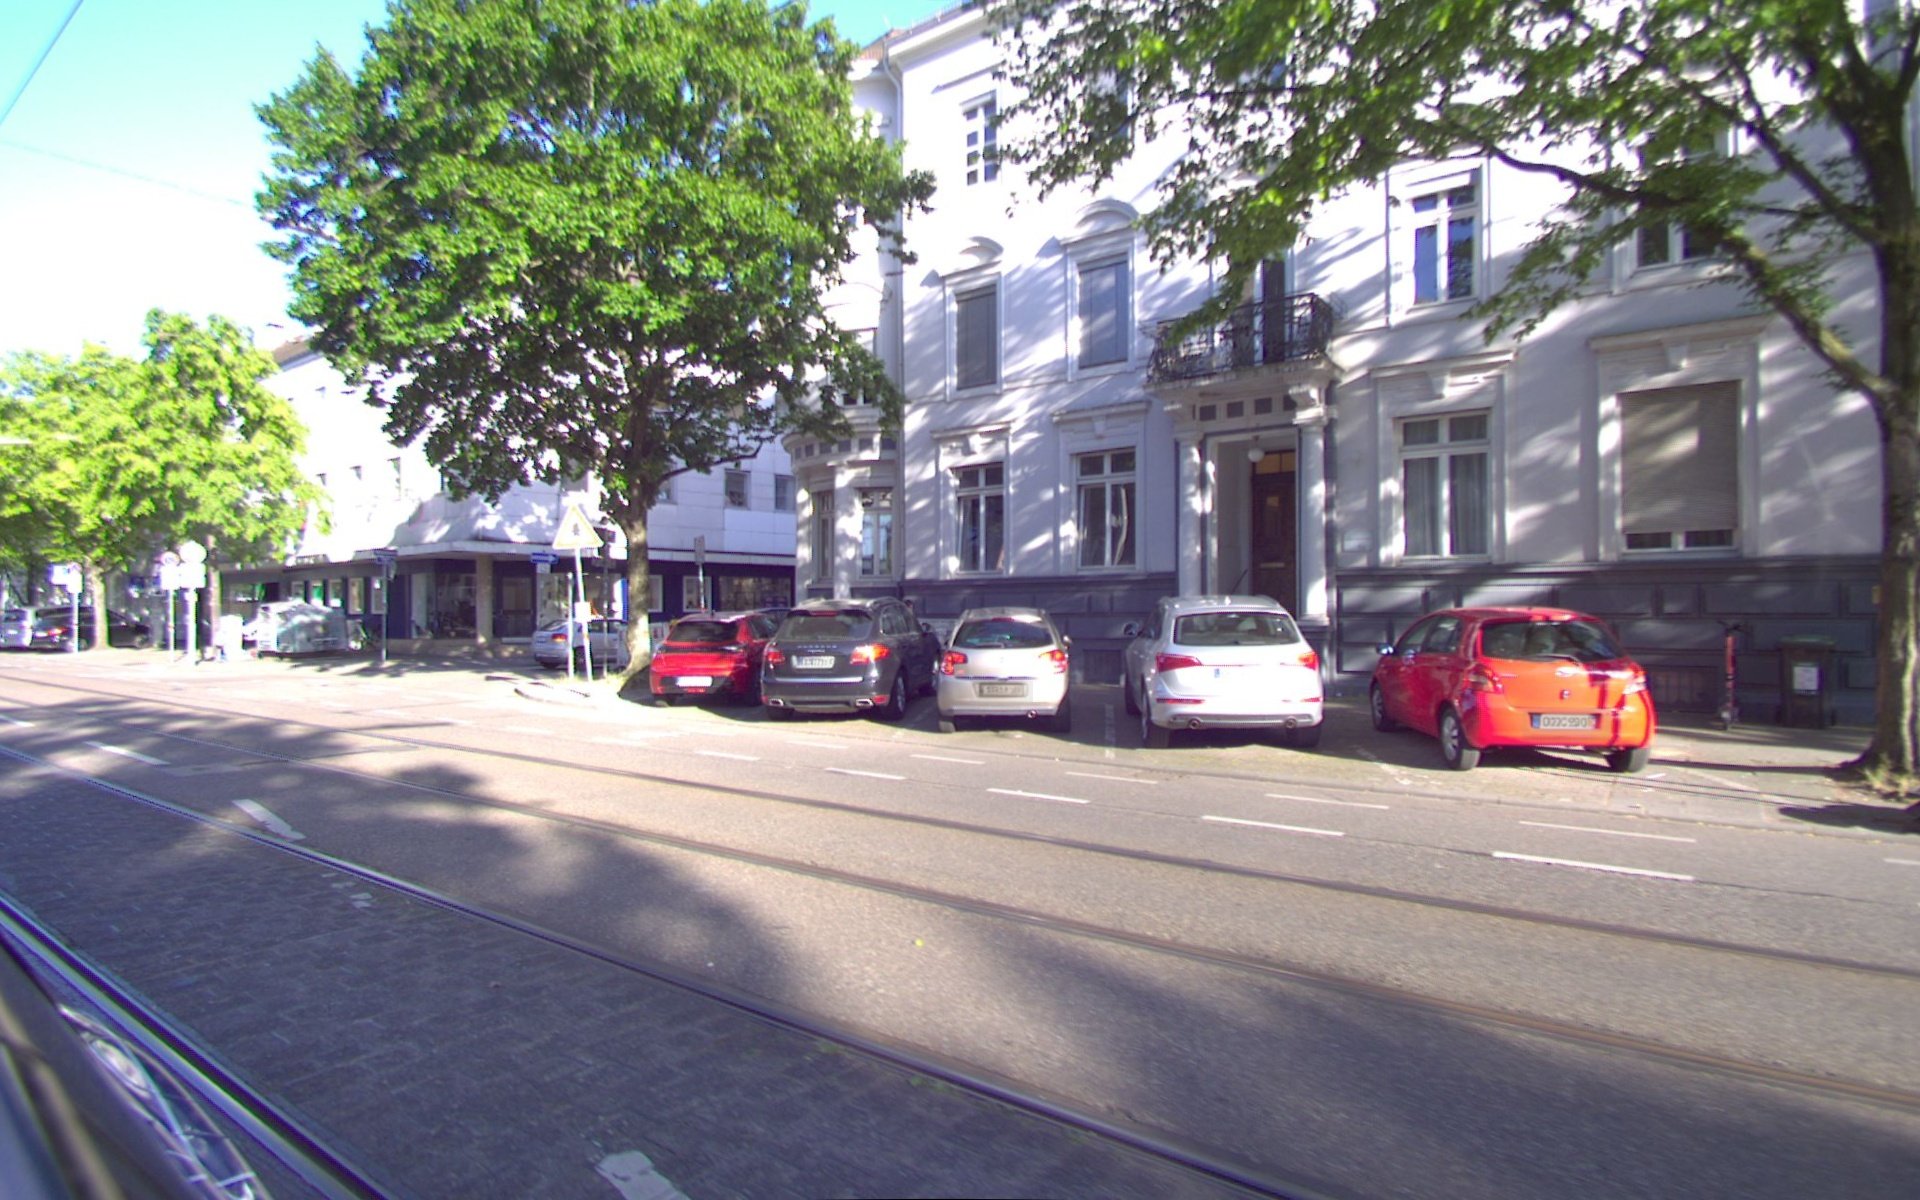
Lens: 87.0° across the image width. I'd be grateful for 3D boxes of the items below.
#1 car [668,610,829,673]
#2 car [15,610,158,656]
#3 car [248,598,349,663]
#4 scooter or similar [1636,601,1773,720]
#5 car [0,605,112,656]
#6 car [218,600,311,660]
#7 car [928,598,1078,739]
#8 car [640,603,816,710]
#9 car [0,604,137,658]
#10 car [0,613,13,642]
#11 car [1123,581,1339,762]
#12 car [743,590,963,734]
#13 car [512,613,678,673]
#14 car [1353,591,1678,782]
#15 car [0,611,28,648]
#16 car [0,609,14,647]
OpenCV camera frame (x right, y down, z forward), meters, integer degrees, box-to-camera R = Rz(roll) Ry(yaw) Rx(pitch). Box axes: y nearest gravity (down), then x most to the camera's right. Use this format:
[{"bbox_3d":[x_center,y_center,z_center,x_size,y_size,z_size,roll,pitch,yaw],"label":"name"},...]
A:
[{"bbox_3d":[-5.456,1.022,26.444,1.779,1.497,3.950,0,-1,37],"label":"car"},{"bbox_3d":[-35.381,1.300,41.121,1.667,1.581,4.059,-1,2,31],"label":"car"},{"bbox_3d":[-20.594,0.934,31.506,3.209,1.912,1.652,-1,-1,37],"label":"car"},{"bbox_3d":[9.013,0.709,12.274,1.285,1.368,0.396,-1,-2,42],"label":"scooter or similar"},{"bbox_3d":[-39.983,1.281,44.129,1.667,1.965,4.264,-1,2,31],"label":"car"},{"bbox_3d":[-23.396,0.984,34.018,3.209,1.912,1.652,-1,-1,37],"label":"car"},{"bbox_3d":[0.604,0.800,13.746,1.726,1.531,3.763,-1,2,3],"label":"car"},{"bbox_3d":[-3.769,0.855,17.150,1.759,1.497,3.994,-1,1,5],"label":"car"},{"bbox_3d":[-37.665,1.239,42.664,1.667,1.965,4.264,-1,2,31],"label":"car"},{"bbox_3d":[-55.461,1.621,56.287,1.667,1.605,3.734,-1,2,31],"label":"car"},{"bbox_3d":[3.035,0.688,12.194,1.762,1.737,4.196,-1,2,5],"label":"car"},{"bbox_3d":[-1.398,0.774,15.165,1.930,1.727,4.341,-1,2,14],"label":"car"},{"bbox_3d":[-9.959,1.122,27.852,1.781,1.497,3.946,-1,-1,41],"label":"car"},{"bbox_3d":[5.581,0.731,10.805,1.621,1.569,4.191,-1,1,8],"label":"car"},{"bbox_3d":[-49.171,1.525,50.154,1.667,1.791,4.059,-1,2,31],"label":"car"},{"bbox_3d":[-50.962,1.527,51.481,1.667,1.953,3.766,-1,2,31],"label":"car"}]
